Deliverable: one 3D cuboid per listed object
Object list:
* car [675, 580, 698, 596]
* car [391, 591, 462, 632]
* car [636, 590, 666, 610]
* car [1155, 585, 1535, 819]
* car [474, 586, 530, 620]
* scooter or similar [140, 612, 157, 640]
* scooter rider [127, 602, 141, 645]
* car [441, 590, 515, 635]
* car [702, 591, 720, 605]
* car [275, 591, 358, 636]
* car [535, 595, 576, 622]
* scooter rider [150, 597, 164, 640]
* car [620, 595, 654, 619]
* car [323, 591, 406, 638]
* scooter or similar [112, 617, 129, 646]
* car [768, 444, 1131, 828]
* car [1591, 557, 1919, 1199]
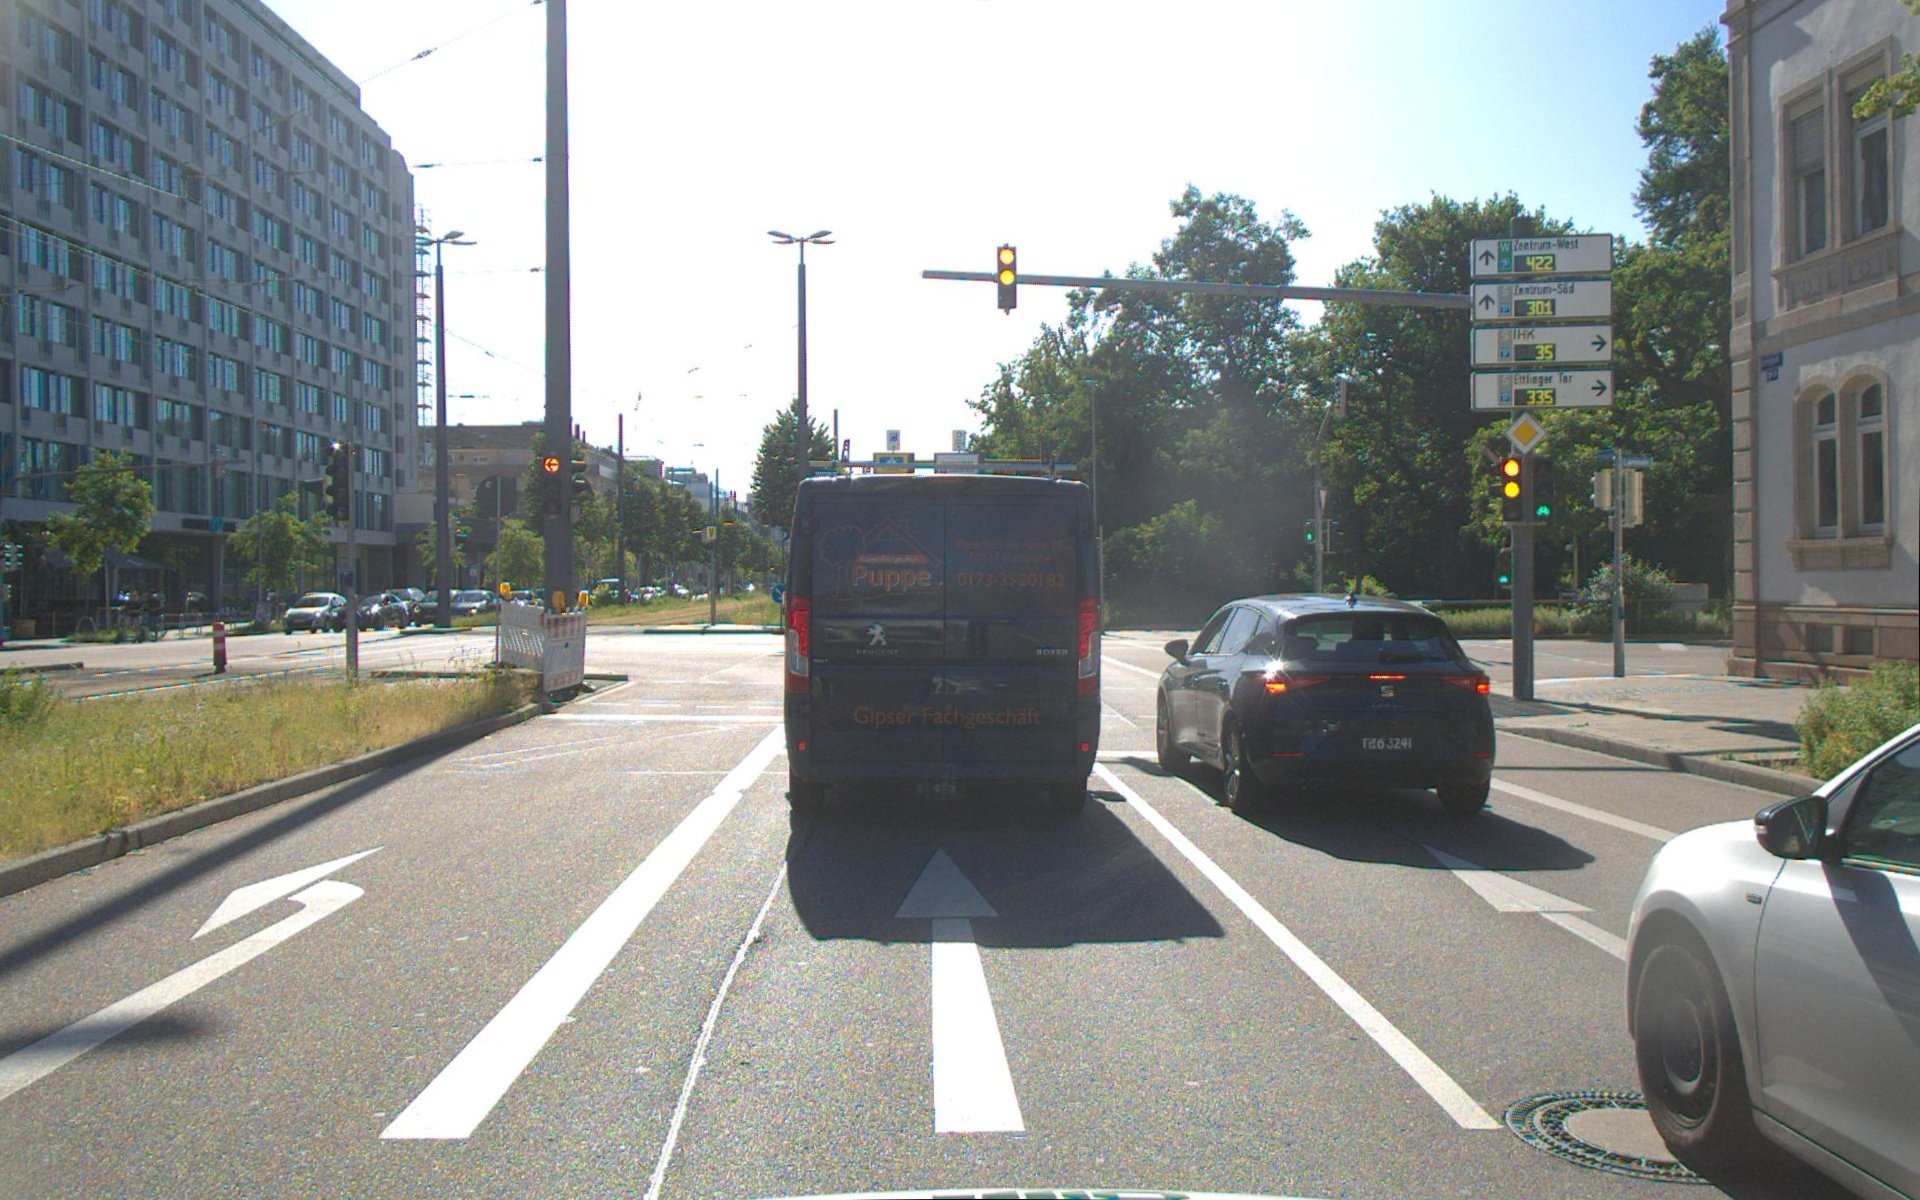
[{"bbox_3d":[-29.069,-1.261,175.880,1.754,1.679,3.999,-1,1,-1],"label":"car"},{"bbox_3d":[-22.942,0.458,71.274,1.754,1.680,3.999,-1,1,-1],"label":"car"},{"bbox_3d":[-26.037,-0.022,139.485,1.754,1.680,3.999,-1,1,-1],"label":"car"},{"bbox_3d":[2.642,0.634,12.271,1.756,1.453,3.848,1,0,-3],"label":"car"},{"bbox_3d":[-23.088,0.131,83.510,1.754,1.680,3.999,-1,1,-1],"label":"car"},{"bbox_3d":[-28.149,0.890,57.379,0.224,0.964,0.767,-1,0,-1],"label":"scooter or similar"},{"bbox_3d":[-28.806,0.828,57.655,0.335,1.478,0.239,-1,0,-1],"label":"scooter rider"},{"bbox_3d":[-19.355,0.478,66.587,1.754,1.680,4.334,-1,1,-1],"label":"car"},{"bbox_3d":[-30.696,-0.262,204.005,1.754,1.680,3.999,-1,1,-1],"label":"car"},{"bbox_3d":[-25.424,0.510,65.448,1.754,1.680,3.999,-1,1,-1],"label":"car"},{"bbox_3d":[-26.617,0.549,108.897,1.754,1.680,3.999,-1,1,-1],"label":"car"},{"bbox_3d":[-27.918,0.628,57.498,0.335,1.478,0.239,-1,0,-1],"label":"scooter rider"},{"bbox_3d":[-23.939,0.491,122.542,1.754,1.680,3.999,-1,1,-1],"label":"car"},{"bbox_3d":[-22.731,0.527,63.291,1.754,1.680,3.999,-1,1,-1],"label":"car"},{"bbox_3d":[-29.167,1.098,57.490,0.280,0.964,0.766,-1,0,-9],"label":"scooter or similar"},{"bbox_3d":[-0.153,0.181,12.262,2.173,2.307,4.482,1,1,-3],"label":"car"},{"bbox_3d":[2.848,0.699,3.152,1.714,1.554,4.004,0,1,-1],"label":"car"}]
